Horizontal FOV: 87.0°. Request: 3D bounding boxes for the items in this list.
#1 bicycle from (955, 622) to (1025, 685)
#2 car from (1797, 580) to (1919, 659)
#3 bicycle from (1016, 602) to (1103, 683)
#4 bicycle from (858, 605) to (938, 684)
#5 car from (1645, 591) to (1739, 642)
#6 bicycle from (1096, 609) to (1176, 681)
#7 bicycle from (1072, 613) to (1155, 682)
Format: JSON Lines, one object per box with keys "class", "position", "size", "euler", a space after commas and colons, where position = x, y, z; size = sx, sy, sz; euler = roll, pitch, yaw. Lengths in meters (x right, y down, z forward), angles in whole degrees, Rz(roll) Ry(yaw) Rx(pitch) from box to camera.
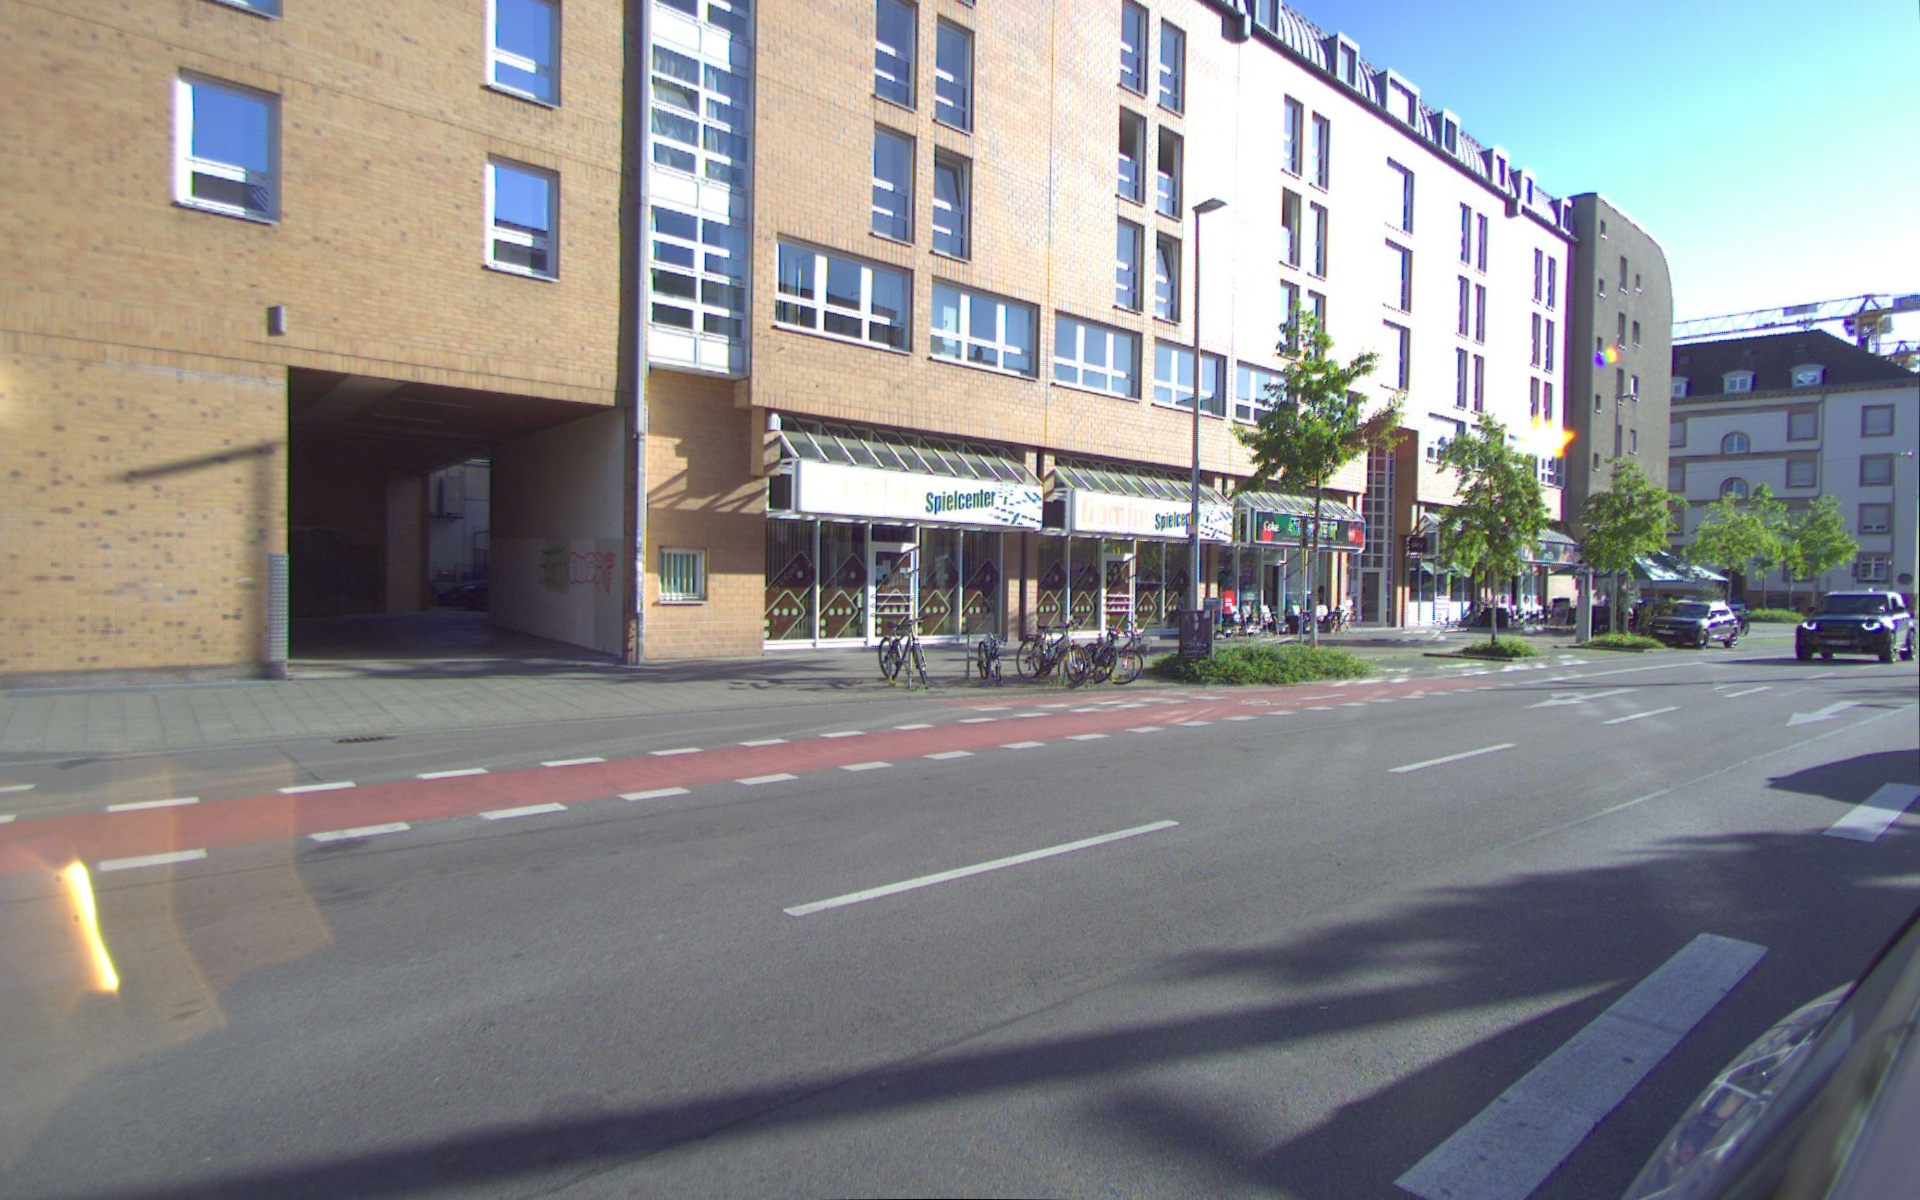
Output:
{"class": "bicycle", "position": [0.478, 0.862, 16.829], "size": [0.359, 0.842, 1.779], "euler": [0, 3, -26]}
{"class": "car", "position": [24.837, 0.471, 27.826], "size": [4.397, 1.939, 2.162], "euler": [-2, 1, -42]}
{"class": "bicycle", "position": [1.656, 0.688, 17.185], "size": [0.553, 1.177, 1.843], "euler": [0, 3, -26]}
{"class": "bicycle", "position": [-1.025, 0.678, 16.277], "size": [0.423, 1.089, 1.776], "euler": [-1, 4, -35]}
{"class": "car", "position": [25.681, 0.539, 35.458], "size": [3.929, 1.660, 1.778], "euler": [0, 1, -41]}
{"class": "bicycle", "position": [3.084, 0.766, 17.888], "size": [0.343, 1.069, 1.843], "euler": [0, 3, -26]}
{"class": "bicycle", "position": [2.651, 0.798, 17.657], "size": [0.440, 0.997, 1.843], "euler": [0, 3, -26]}
